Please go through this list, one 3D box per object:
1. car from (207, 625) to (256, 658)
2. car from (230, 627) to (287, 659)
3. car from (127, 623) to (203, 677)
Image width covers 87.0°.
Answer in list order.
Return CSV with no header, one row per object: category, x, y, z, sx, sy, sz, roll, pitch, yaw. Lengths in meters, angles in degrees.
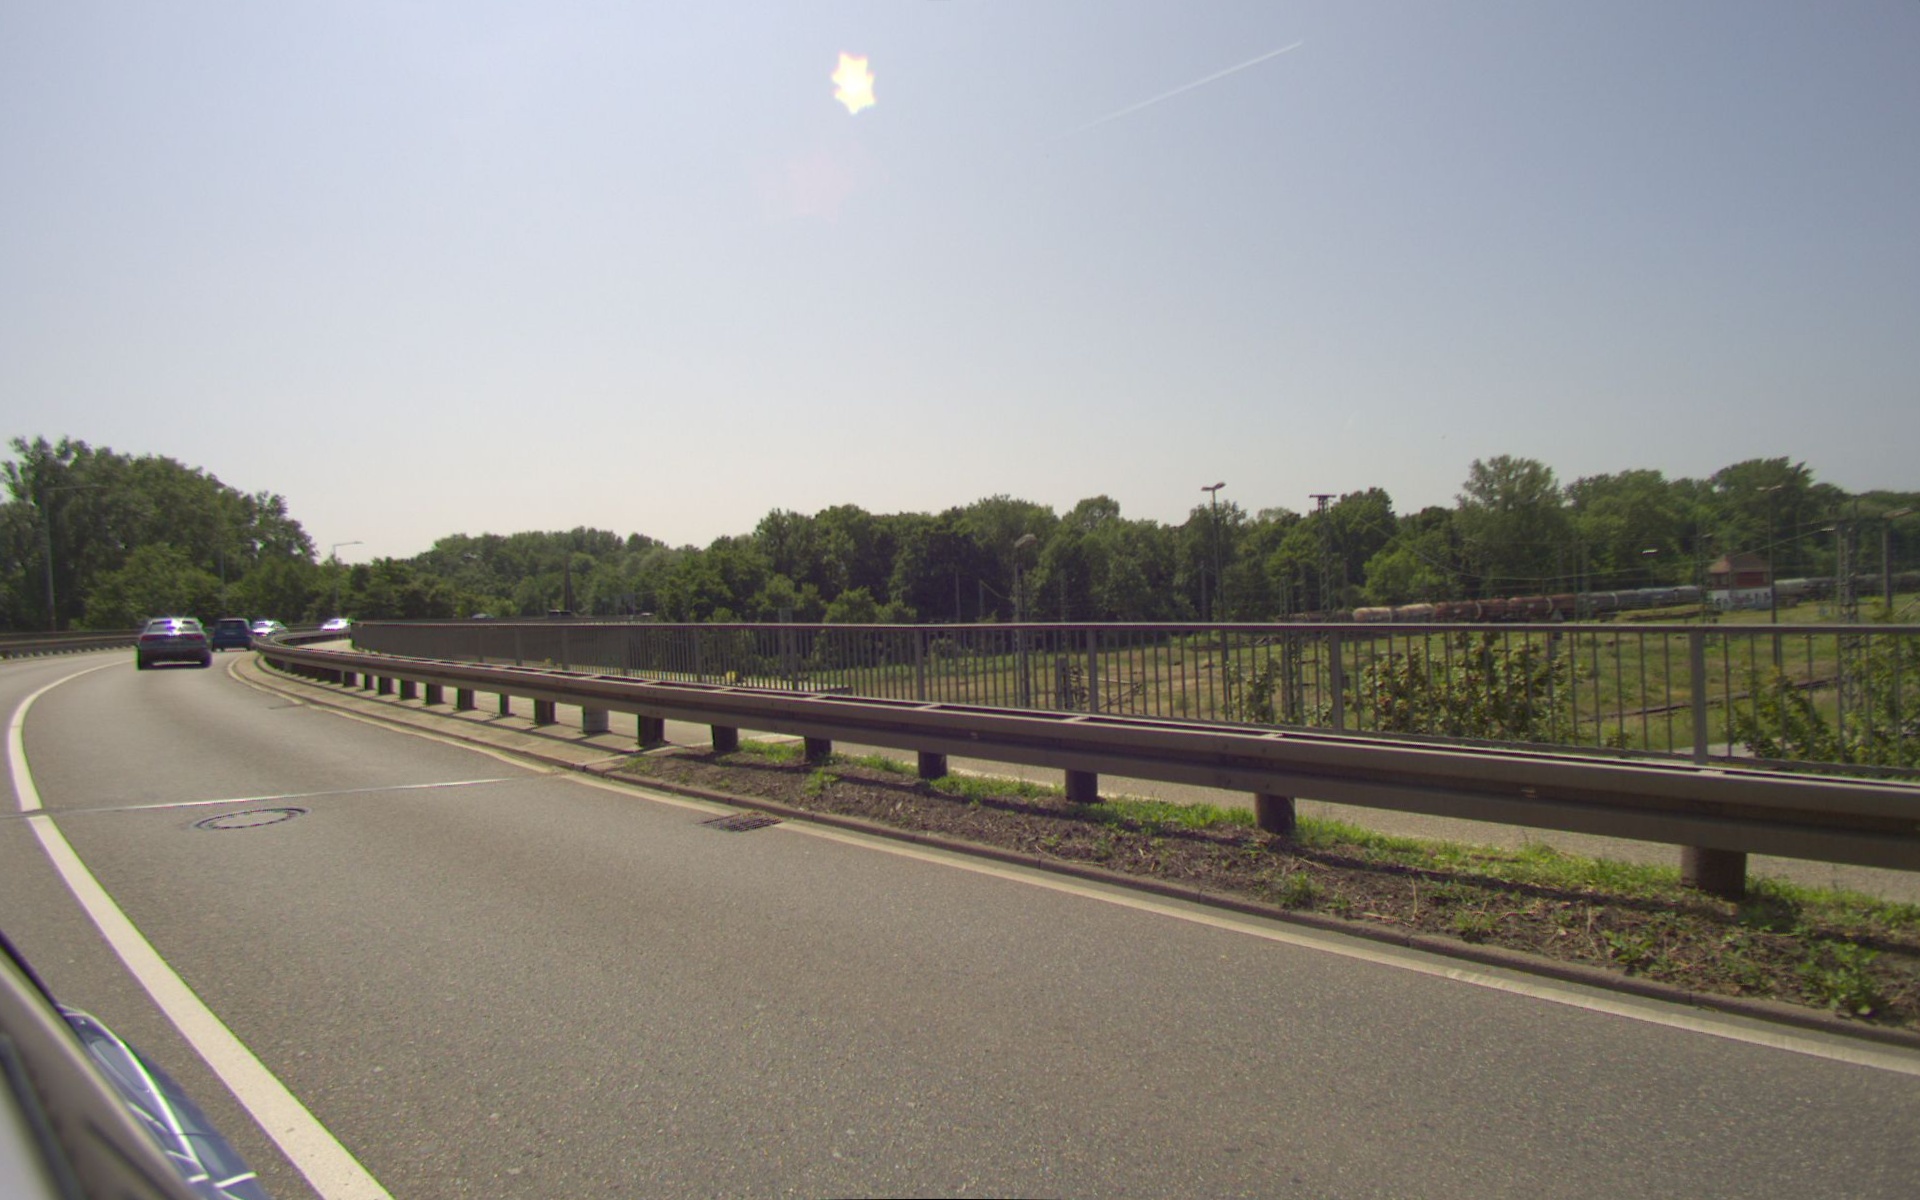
car,-34.953,1.997,48.603,1.575,1.497,2.756,-1,-1,-30
car,-47.168,2.844,68.141,1.966,2.029,4.012,-2,-1,-17
car,-25.467,1.577,32.528,1.799,1.548,4.204,-1,-1,-37
